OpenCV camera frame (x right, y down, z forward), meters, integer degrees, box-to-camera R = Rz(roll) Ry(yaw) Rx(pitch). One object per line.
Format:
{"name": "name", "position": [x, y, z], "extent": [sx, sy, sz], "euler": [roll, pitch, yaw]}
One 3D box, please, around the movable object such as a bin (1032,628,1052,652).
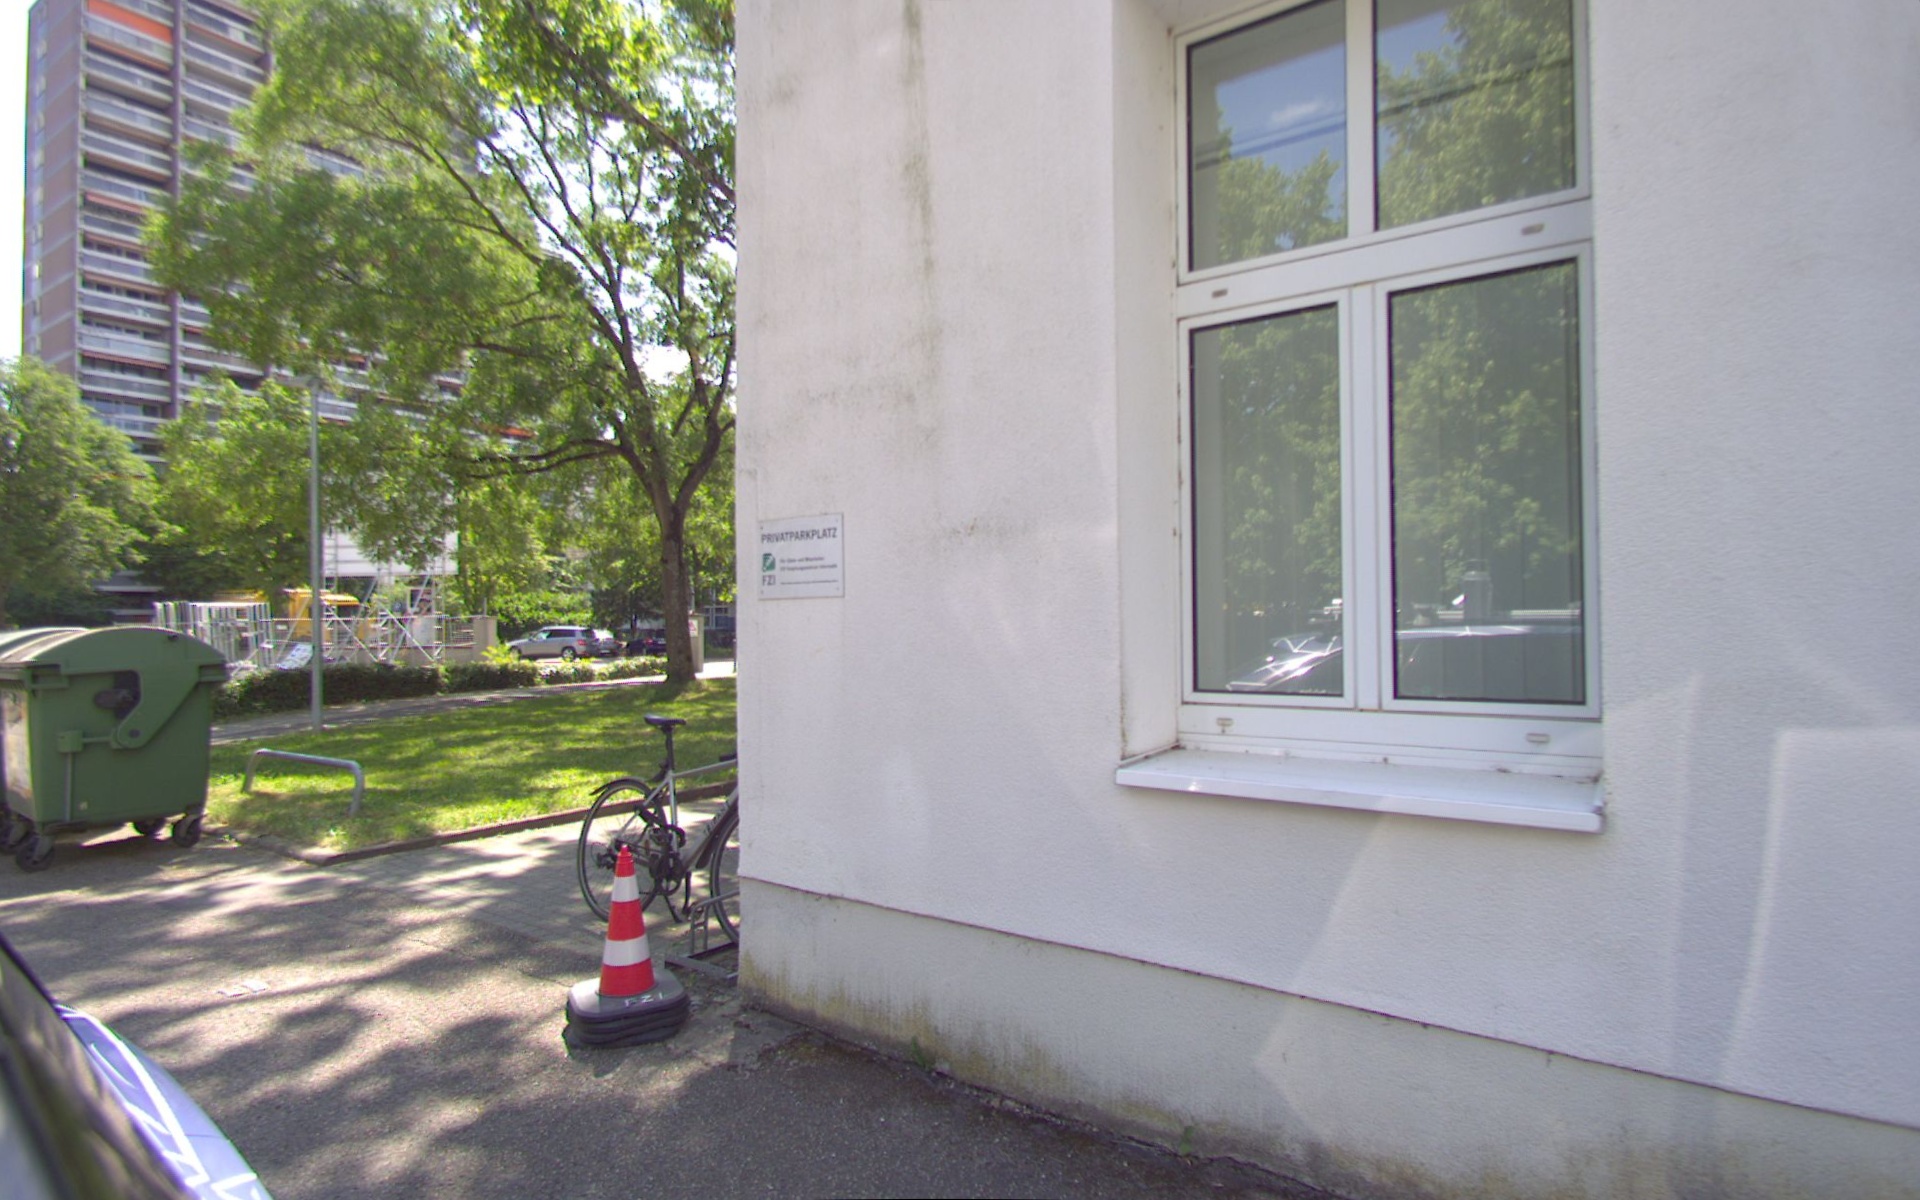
{"name": "movable object such as a bin", "position": [4.622, 2.247, 56.818], "extent": [1.065, 1.340, 0.968], "euler": [-1, -2, 9]}

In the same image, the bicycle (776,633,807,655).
{"name": "bicycle", "position": [-9.910, 2.603, 59.683], "extent": [0.568, 1.247, 1.919], "euler": [-2, -2, 38]}

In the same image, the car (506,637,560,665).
{"name": "car", "position": [-22.742, 2.701, 53.783], "extent": [1.604, 1.383, 4.030], "euler": [0, -2, -39]}

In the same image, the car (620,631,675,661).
{"name": "car", "position": [-16.787, 2.466, 54.303], "extent": [1.624, 1.528, 3.582], "euler": [0, -2, -39]}

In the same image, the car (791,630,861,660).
{"name": "car", "position": [-7.097, 2.350, 53.282], "extent": [1.726, 1.481, 4.205], "euler": [1, -2, -39]}

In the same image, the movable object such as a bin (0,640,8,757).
{"name": "movable object such as a bin", "position": [-11.758, 1.160, 11.527], "extent": [1.097, 1.405, 1.164], "euler": [1, -2, -32]}

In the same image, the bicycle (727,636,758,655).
{"name": "bicycle", "position": [-13.213, 2.766, 61.436], "extent": [0.568, 1.139, 1.919], "euler": [-2, -2, 38]}

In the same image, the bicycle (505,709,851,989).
{"name": "bicycle", "position": [-1.343, 1.030, 4.629], "extent": [1.727, 0.965, 0.606], "euler": [-3, -2, 37]}

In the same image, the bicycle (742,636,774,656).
{"name": "bicycle", "position": [-11.985, 2.717, 60.125], "extent": [0.568, 1.139, 1.919], "euler": [-2, -2, 38]}

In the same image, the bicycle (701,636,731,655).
{"name": "bicycle", "position": [-15.115, 2.816, 62.711], "extent": [0.567, 1.139, 1.905], "euler": [-2, -2, 35]}

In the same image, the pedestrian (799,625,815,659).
{"name": "pedestrian", "position": [-8.535, 2.316, 56.399], "extent": [0.573, 1.889, 0.710], "euler": [-1, -2, 21]}

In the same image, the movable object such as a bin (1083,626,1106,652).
{"name": "movable object such as a bin", "position": [7.512, 2.161, 56.447], "extent": [1.171, 1.409, 1.032], "euler": [-1, -2, 15]}

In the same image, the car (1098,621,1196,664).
{"name": "car", "position": [9.200, 2.073, 50.194], "extent": [1.968, 2.029, 4.640], "euler": [1, -2, -38]}

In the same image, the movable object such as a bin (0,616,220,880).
{"name": "movable object such as a bin", "position": [-5.698, 0.866, 6.586], "extent": [1.407, 1.491, 1.035], "euler": [-2, -2, 36]}

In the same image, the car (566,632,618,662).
{"name": "car", "position": [-19.908, 2.509, 54.629], "extent": [1.789, 1.474, 4.034], "euler": [0, -2, -33]}

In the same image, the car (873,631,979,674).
{"name": "car", "position": [-1.182, 1.899, 36.176], "extent": [3.678, 1.468, 1.587], "euler": [-1, -4, 4]}

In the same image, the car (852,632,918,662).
{"name": "car", "position": [-3.957, 2.438, 52.988], "extent": [1.726, 1.473, 3.546], "euler": [1, -2, -39]}

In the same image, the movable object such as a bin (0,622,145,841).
{"name": "movable object such as a bin", "position": [-6.887, 0.917, 7.483], "extent": [1.259, 1.491, 1.035], "euler": [-2, -2, 36]}

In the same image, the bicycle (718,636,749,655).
{"name": "bicycle", "position": [-13.826, 2.766, 61.866], "extent": [0.568, 1.139, 1.903], "euler": [-2, -2, 38]}

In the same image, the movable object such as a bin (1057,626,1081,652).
{"name": "movable object such as a bin", "position": [6.135, 2.189, 56.719], "extent": [1.171, 1.409, 1.032], "euler": [-1, -2, 15]}

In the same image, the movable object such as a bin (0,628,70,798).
{"name": "movable object such as a bin", "position": [-9.059, 1.011, 9.152], "extent": [1.321, 1.491, 1.194], "euler": [-2, -2, 32]}

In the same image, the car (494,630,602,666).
{"name": "car", "position": [-19.543, 2.267, 48.072], "extent": [4.344, 1.619, 1.997], "euler": [-1, -1, 5]}

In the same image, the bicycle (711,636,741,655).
{"name": "bicycle", "position": [-14.424, 2.801, 62.352], "extent": [0.567, 1.139, 1.905], "euler": [-2, -2, 35]}

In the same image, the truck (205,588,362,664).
{"name": "truck", "position": [-38.344, 1.528, 57.256], "extent": [9.685, 4.036, 2.729], "euler": [-2, -1, 24]}

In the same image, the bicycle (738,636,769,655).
{"name": "bicycle", "position": [-12.425, 2.721, 60.844], "extent": [0.568, 1.139, 1.919], "euler": [-2, -2, 38]}

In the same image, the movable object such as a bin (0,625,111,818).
{"name": "movable object such as a bin", "position": [-7.996, 0.965, 8.319], "extent": [1.352, 1.491, 1.087], "euler": [-2, -2, 25]}

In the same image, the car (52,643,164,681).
{"name": "car", "position": [-34.381, 2.501, 40.854], "extent": [3.545, 1.451, 1.617], "euler": [-1, -2, 12]}
